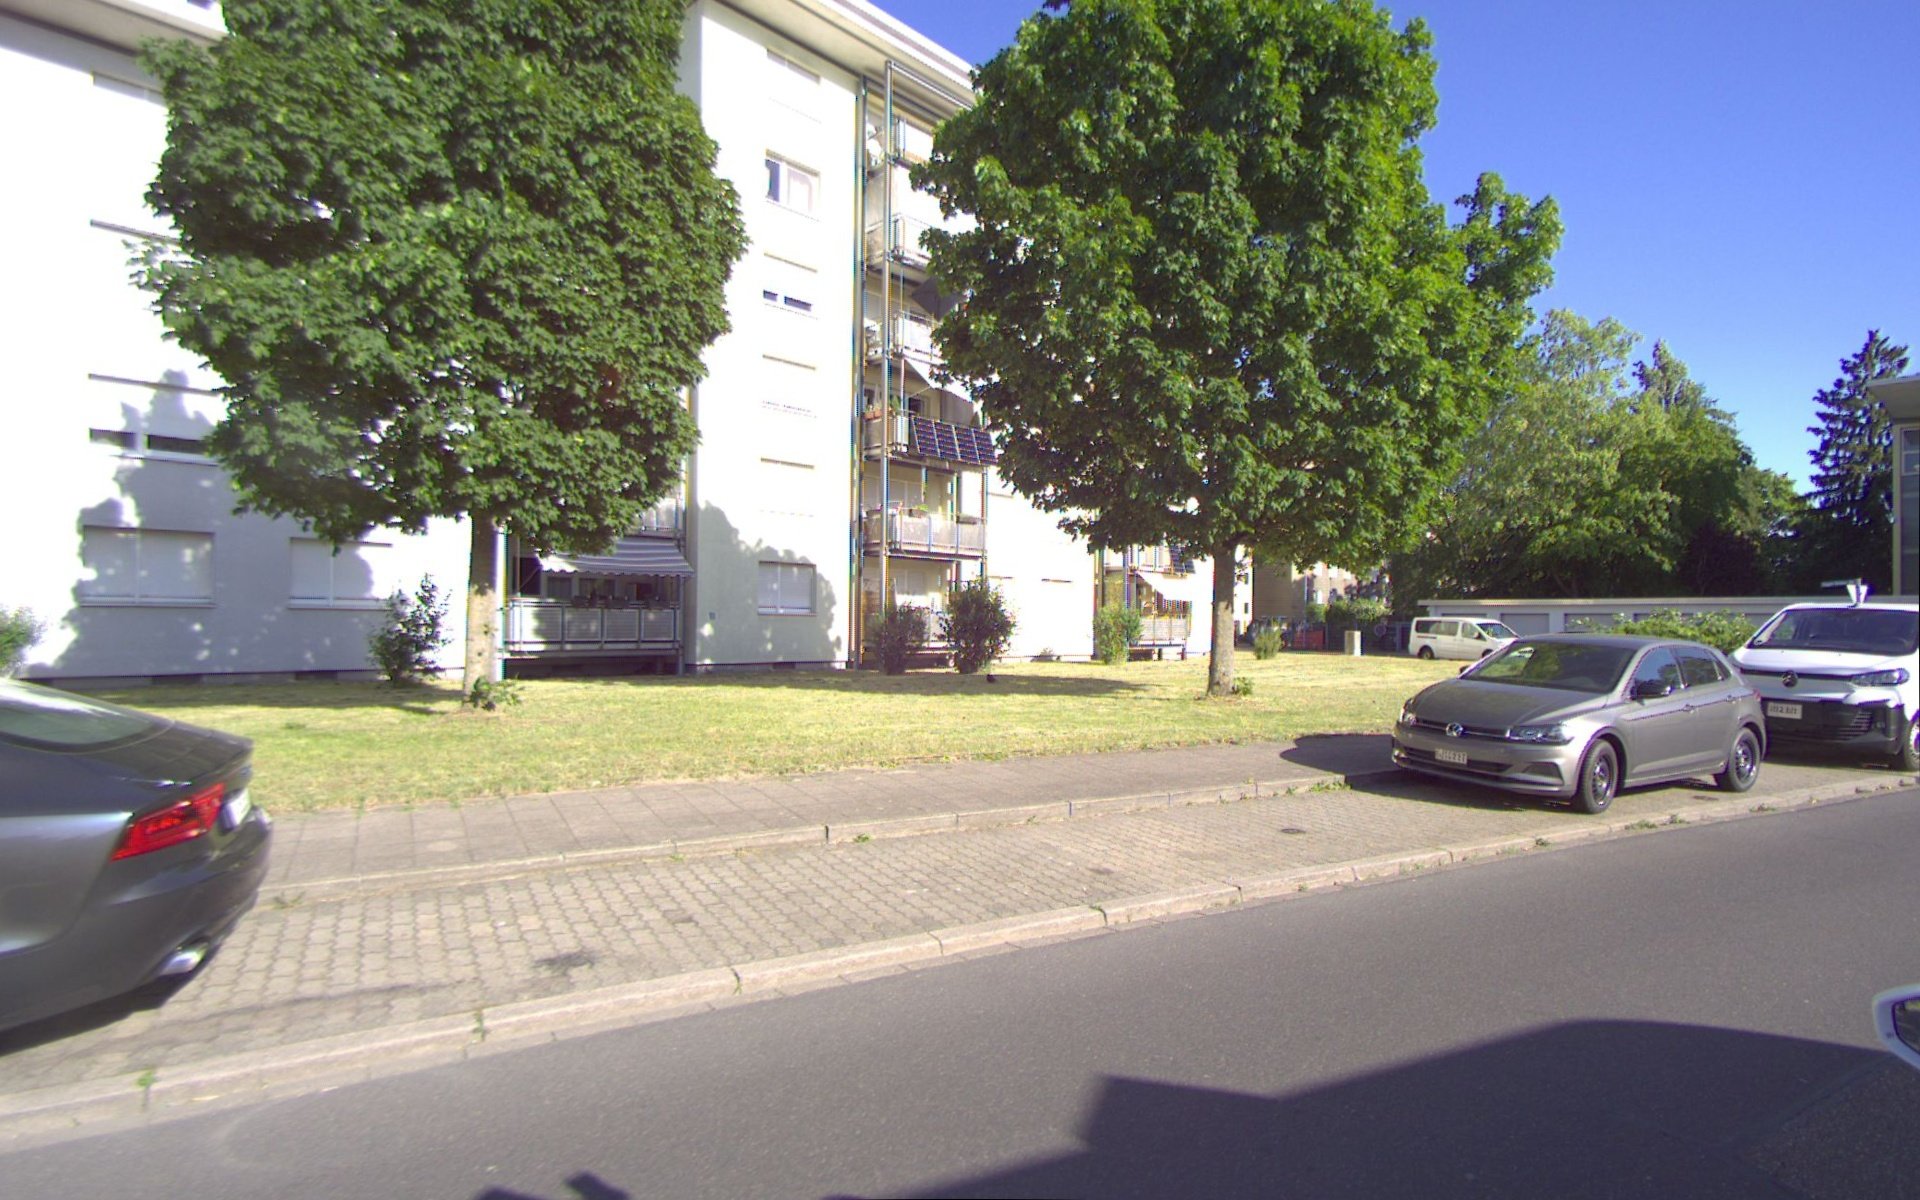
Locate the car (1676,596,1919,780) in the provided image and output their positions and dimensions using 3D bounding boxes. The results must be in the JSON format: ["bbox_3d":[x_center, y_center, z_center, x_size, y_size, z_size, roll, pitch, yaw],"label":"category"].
[{"bbox_3d":[11.502,0.977,12.676,5.128,1.911,2.005,1,0,-29],"label":"car"}]

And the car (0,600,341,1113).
[{"bbox_3d":[-4.971,0.764,3.027,5.194,1.513,2.025,1,1,-30],"label":"car"}]

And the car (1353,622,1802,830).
[{"bbox_3d":[5.907,1.035,9.530,4.170,1.538,1.825,2,0,-29],"label":"car"}]

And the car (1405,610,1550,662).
[{"bbox_3d":[20.987,1.457,41.039,2.204,1.976,5.097,1,-2,-22],"label":"car"}]
